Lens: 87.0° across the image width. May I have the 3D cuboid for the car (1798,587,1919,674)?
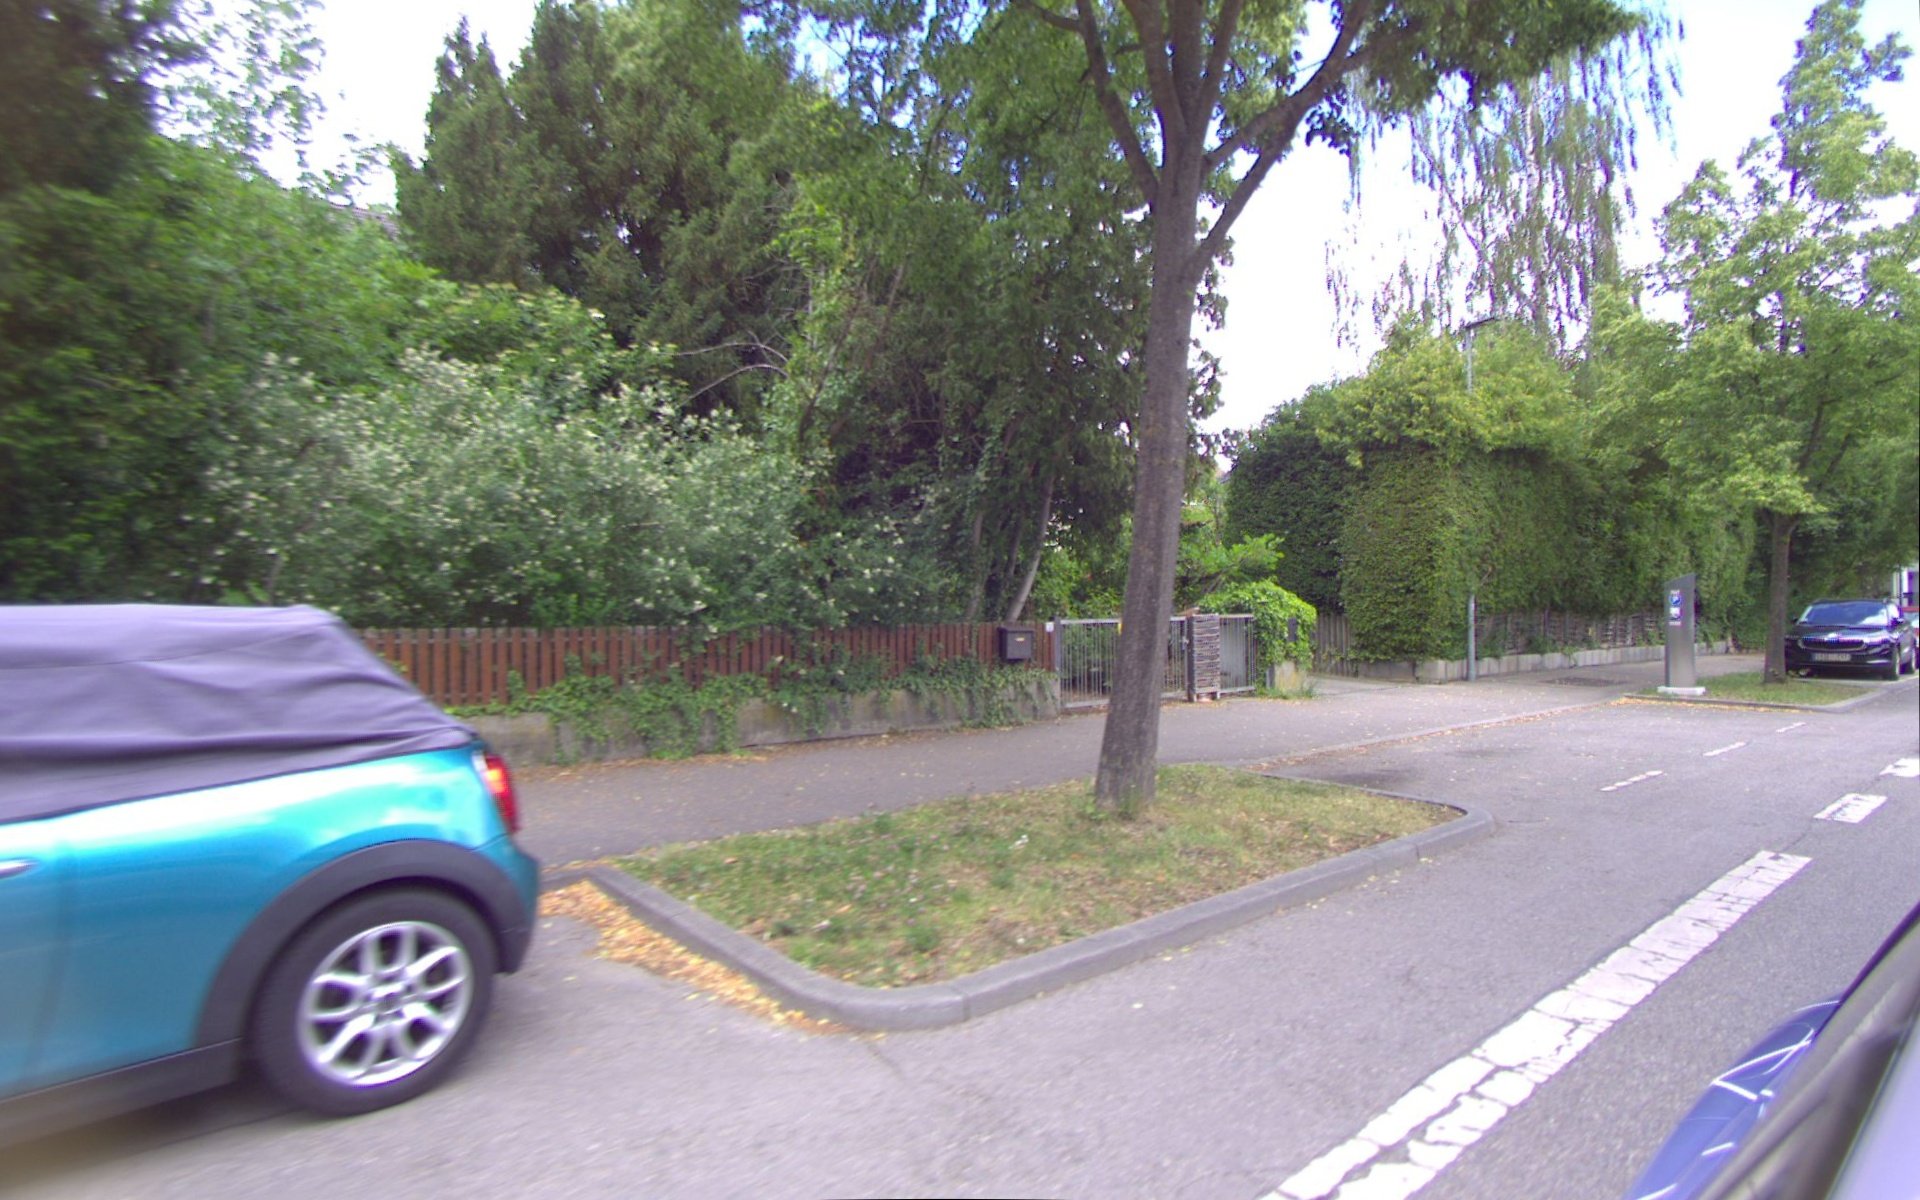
[{"bbox_3d":[18.982,0.567,21.113,4.096,1.636,1.641,0,0,-41],"label":"car"}]

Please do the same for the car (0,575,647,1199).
[{"bbox_3d":[-3.032,0.669,2.552,3.976,1.450,1.684,0,0,-43],"label":"car"}]

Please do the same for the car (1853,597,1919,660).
[{"bbox_3d":[23.353,0.648,24.629,3.925,1.438,1.643,0,0,-37],"label":"car"}]
